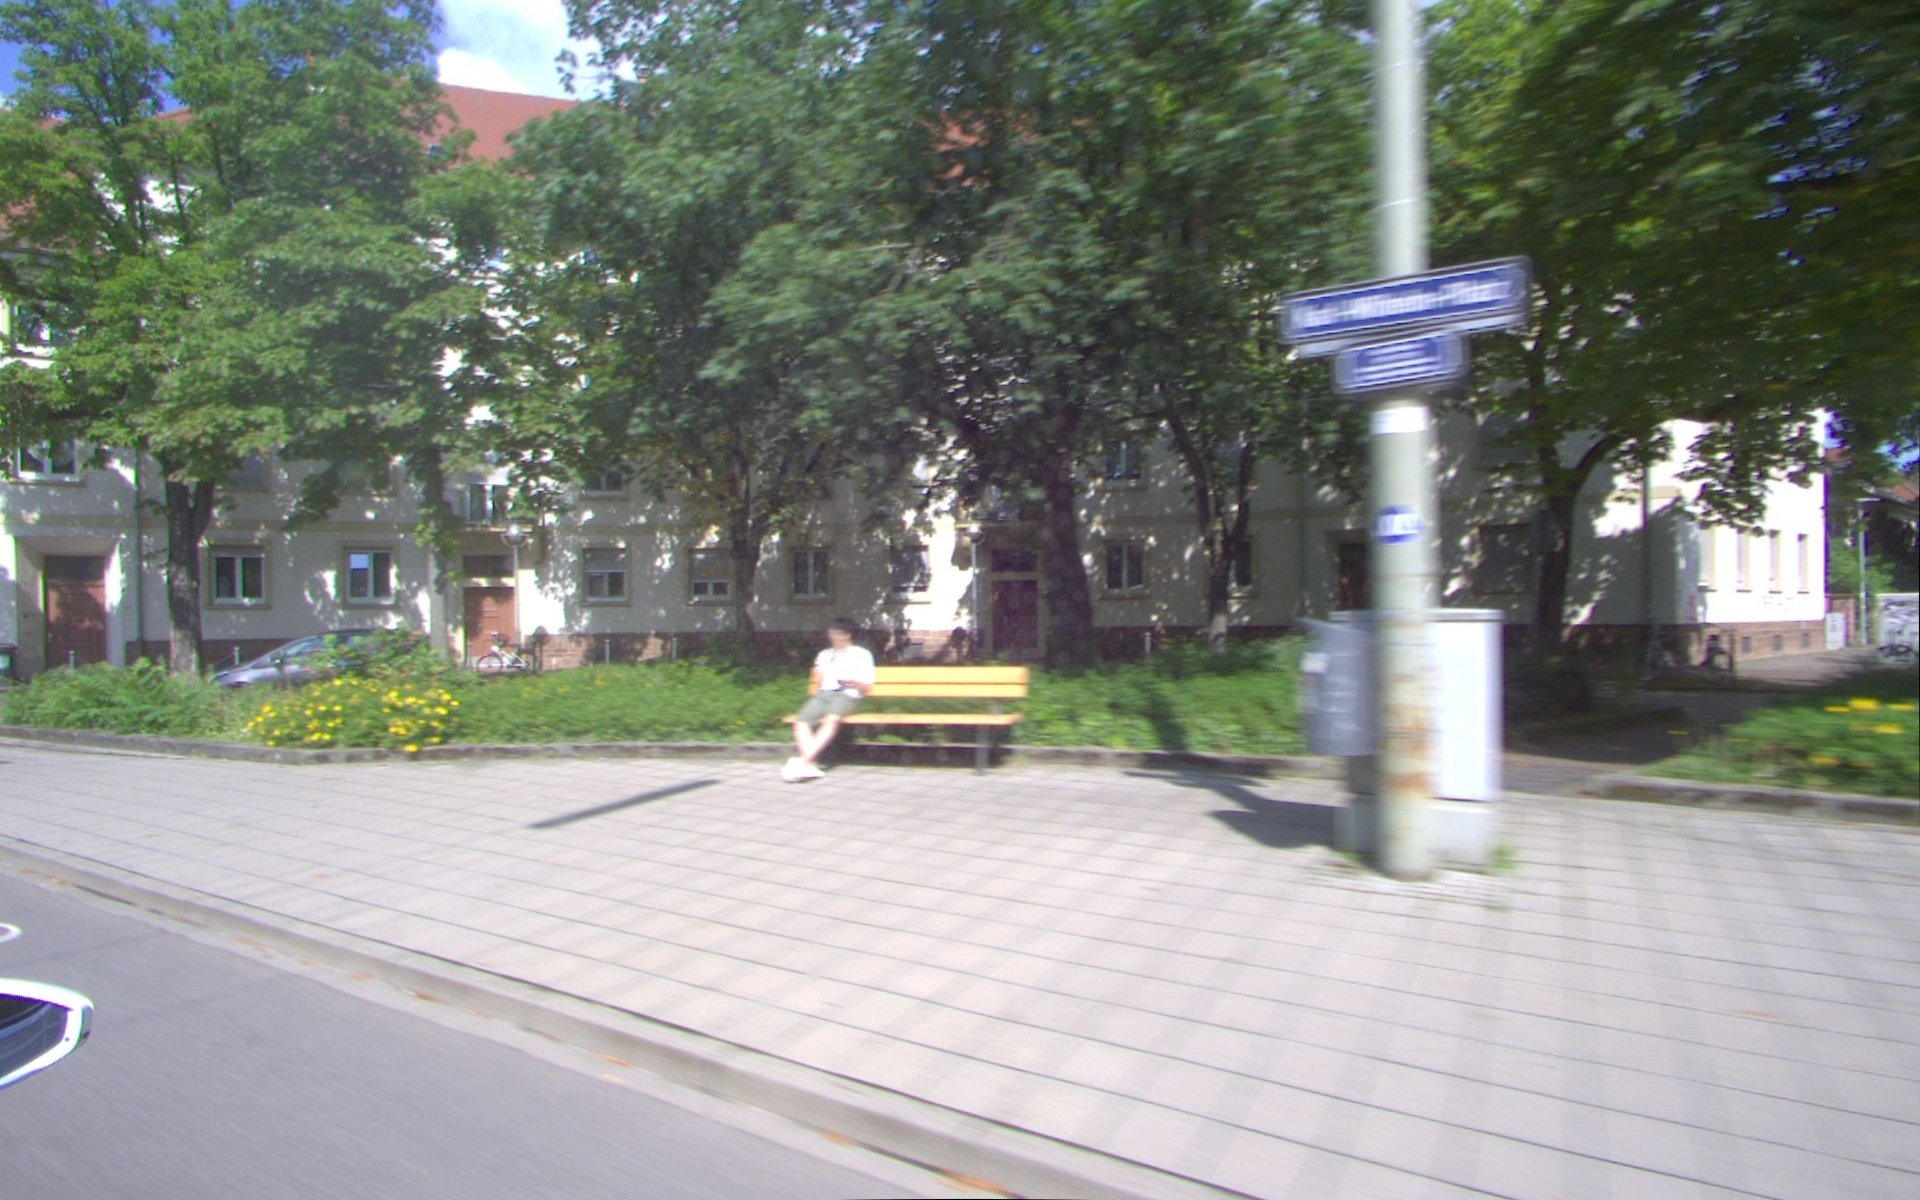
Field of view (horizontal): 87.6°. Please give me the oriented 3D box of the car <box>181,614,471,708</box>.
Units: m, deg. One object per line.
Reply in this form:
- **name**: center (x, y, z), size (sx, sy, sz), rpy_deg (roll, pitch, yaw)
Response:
- **car**: center (-11.382, 1.056, 18.318), size (4.097, 1.530, 1.848), rpy_deg (0, 1, -16)

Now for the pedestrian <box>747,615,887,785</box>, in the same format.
- **pedestrian**: center (-1.175, 0.790, 8.427), size (0.549, 1.286, 1.191), rpy_deg (-1, 2, 27)

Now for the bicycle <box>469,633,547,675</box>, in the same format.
- **bicycle**: center (-11.605, 1.378, 25.747), size (1.719, 1.034, 0.566), rpy_deg (0, 2, -5)
